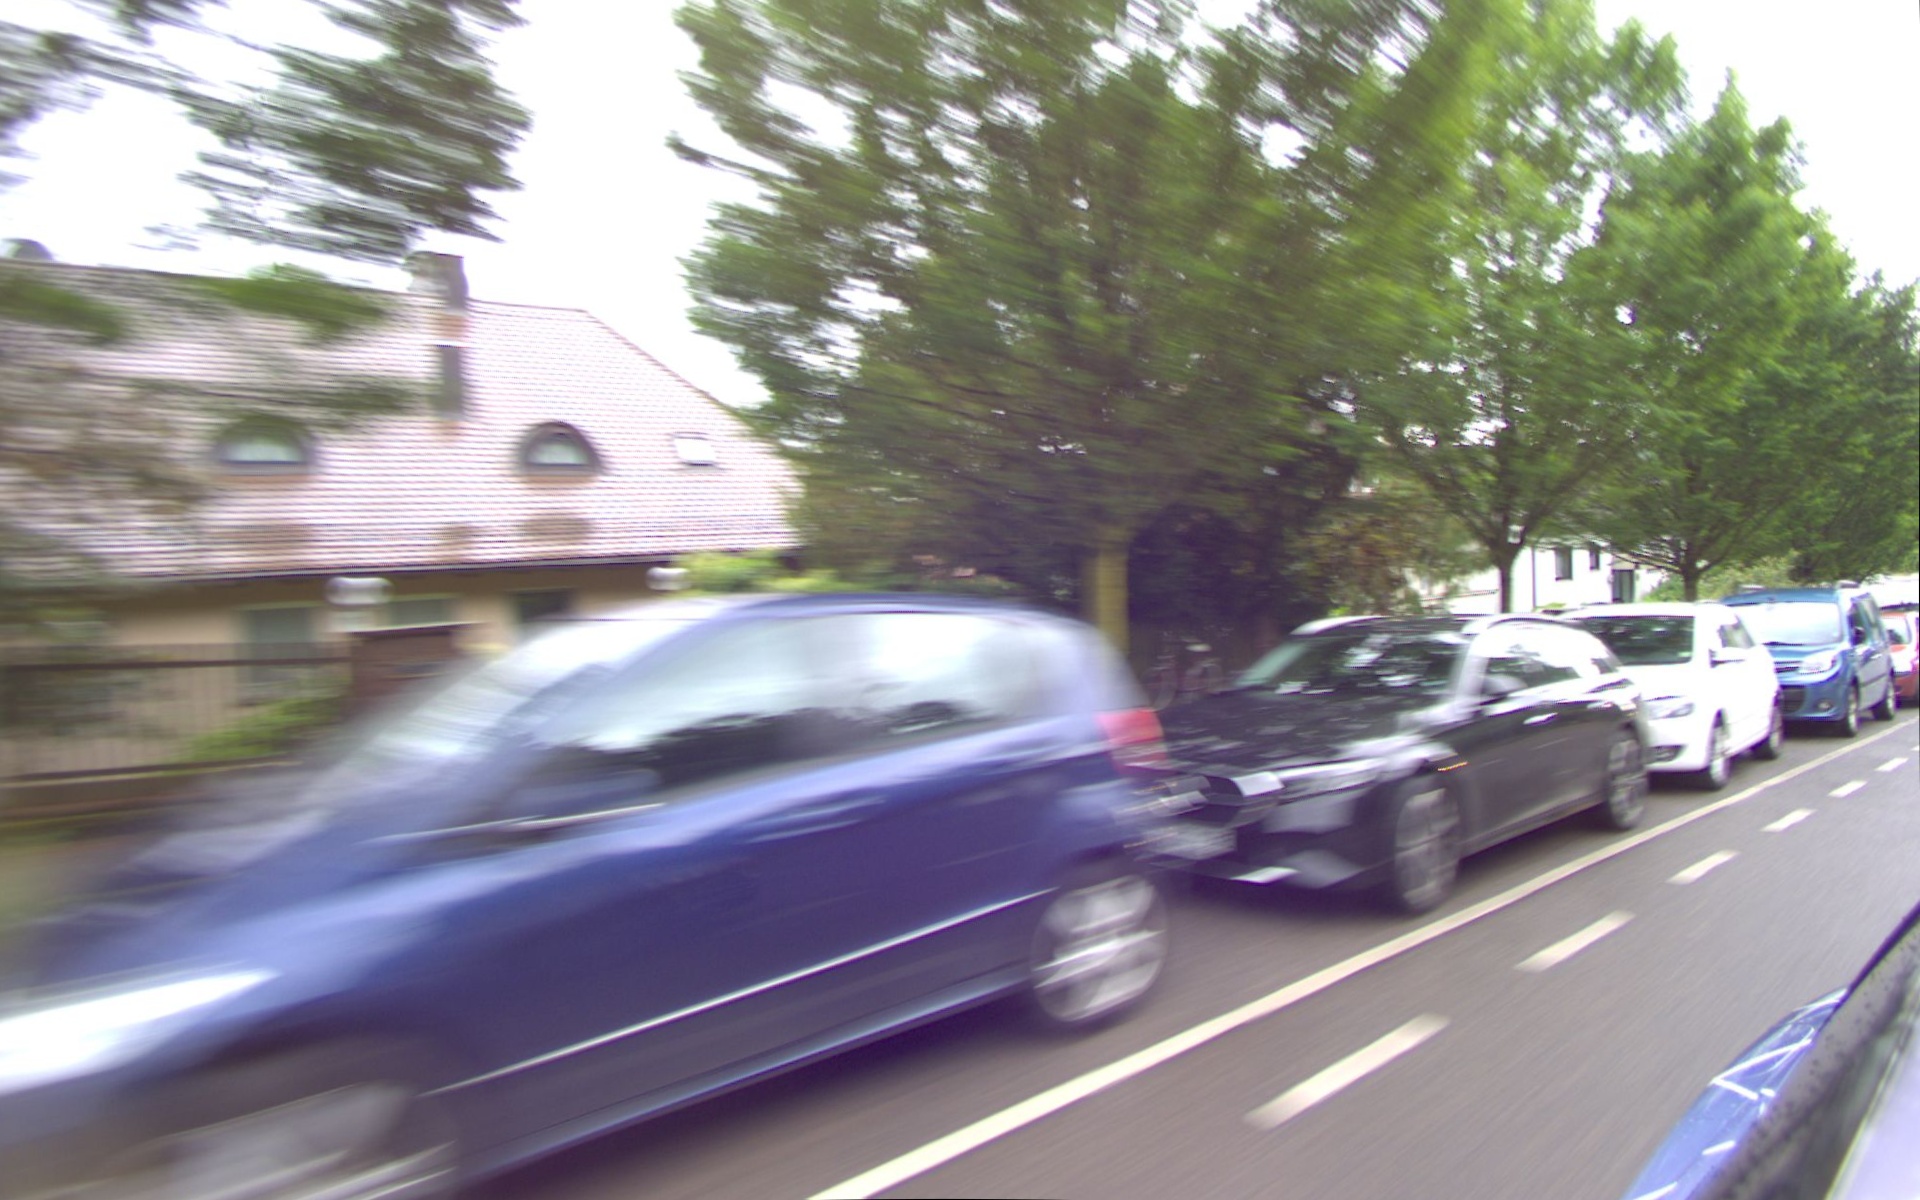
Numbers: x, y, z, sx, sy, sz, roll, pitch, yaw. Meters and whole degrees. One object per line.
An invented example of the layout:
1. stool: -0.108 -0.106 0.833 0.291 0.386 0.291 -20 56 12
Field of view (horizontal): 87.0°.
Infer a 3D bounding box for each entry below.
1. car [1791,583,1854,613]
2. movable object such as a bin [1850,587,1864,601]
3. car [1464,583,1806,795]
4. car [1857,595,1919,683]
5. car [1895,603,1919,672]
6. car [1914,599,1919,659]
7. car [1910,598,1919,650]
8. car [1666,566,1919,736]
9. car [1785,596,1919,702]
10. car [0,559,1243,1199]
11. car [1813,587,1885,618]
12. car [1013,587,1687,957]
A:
1. car: 52.445 -0.146 61.640 2.044 1.677 5.176 -3 -1 32
2. movable object such as a bin: 71.976 -0.490 81.220 0.589 1.005 0.610 -3 -2 -30
3. car: 6.704 0.704 9.867 4.152 1.630 1.785 -1 -2 -42
4. car: 18.872 0.667 19.512 4.091 1.576 1.716 -1 -4 -41
5. car: 22.723 0.777 23.088 4.215 1.442 1.644 -1 -3 -43
6. car: 27.404 0.700 27.555 4.651 1.573 1.776 -1 -3 -44
7. car: 31.469 0.697 32.169 1.652 1.539 3.939 -5 -3 42
8. car: 11.042 0.589 13.274 4.346 1.876 1.781 0 -3 -40
9. car: 15.023 0.728 16.438 3.947 1.501 1.652 -1 -3 -39
10. car: -0.927 0.739 3.450 3.852 1.591 1.696 -1 -2 -39
11. car: 49.651 0.126 56.619 1.851 1.488 5.004 -6 -2 29
12. car: 2.792 0.754 6.625 4.764 1.557 1.997 -1 -2 -40
